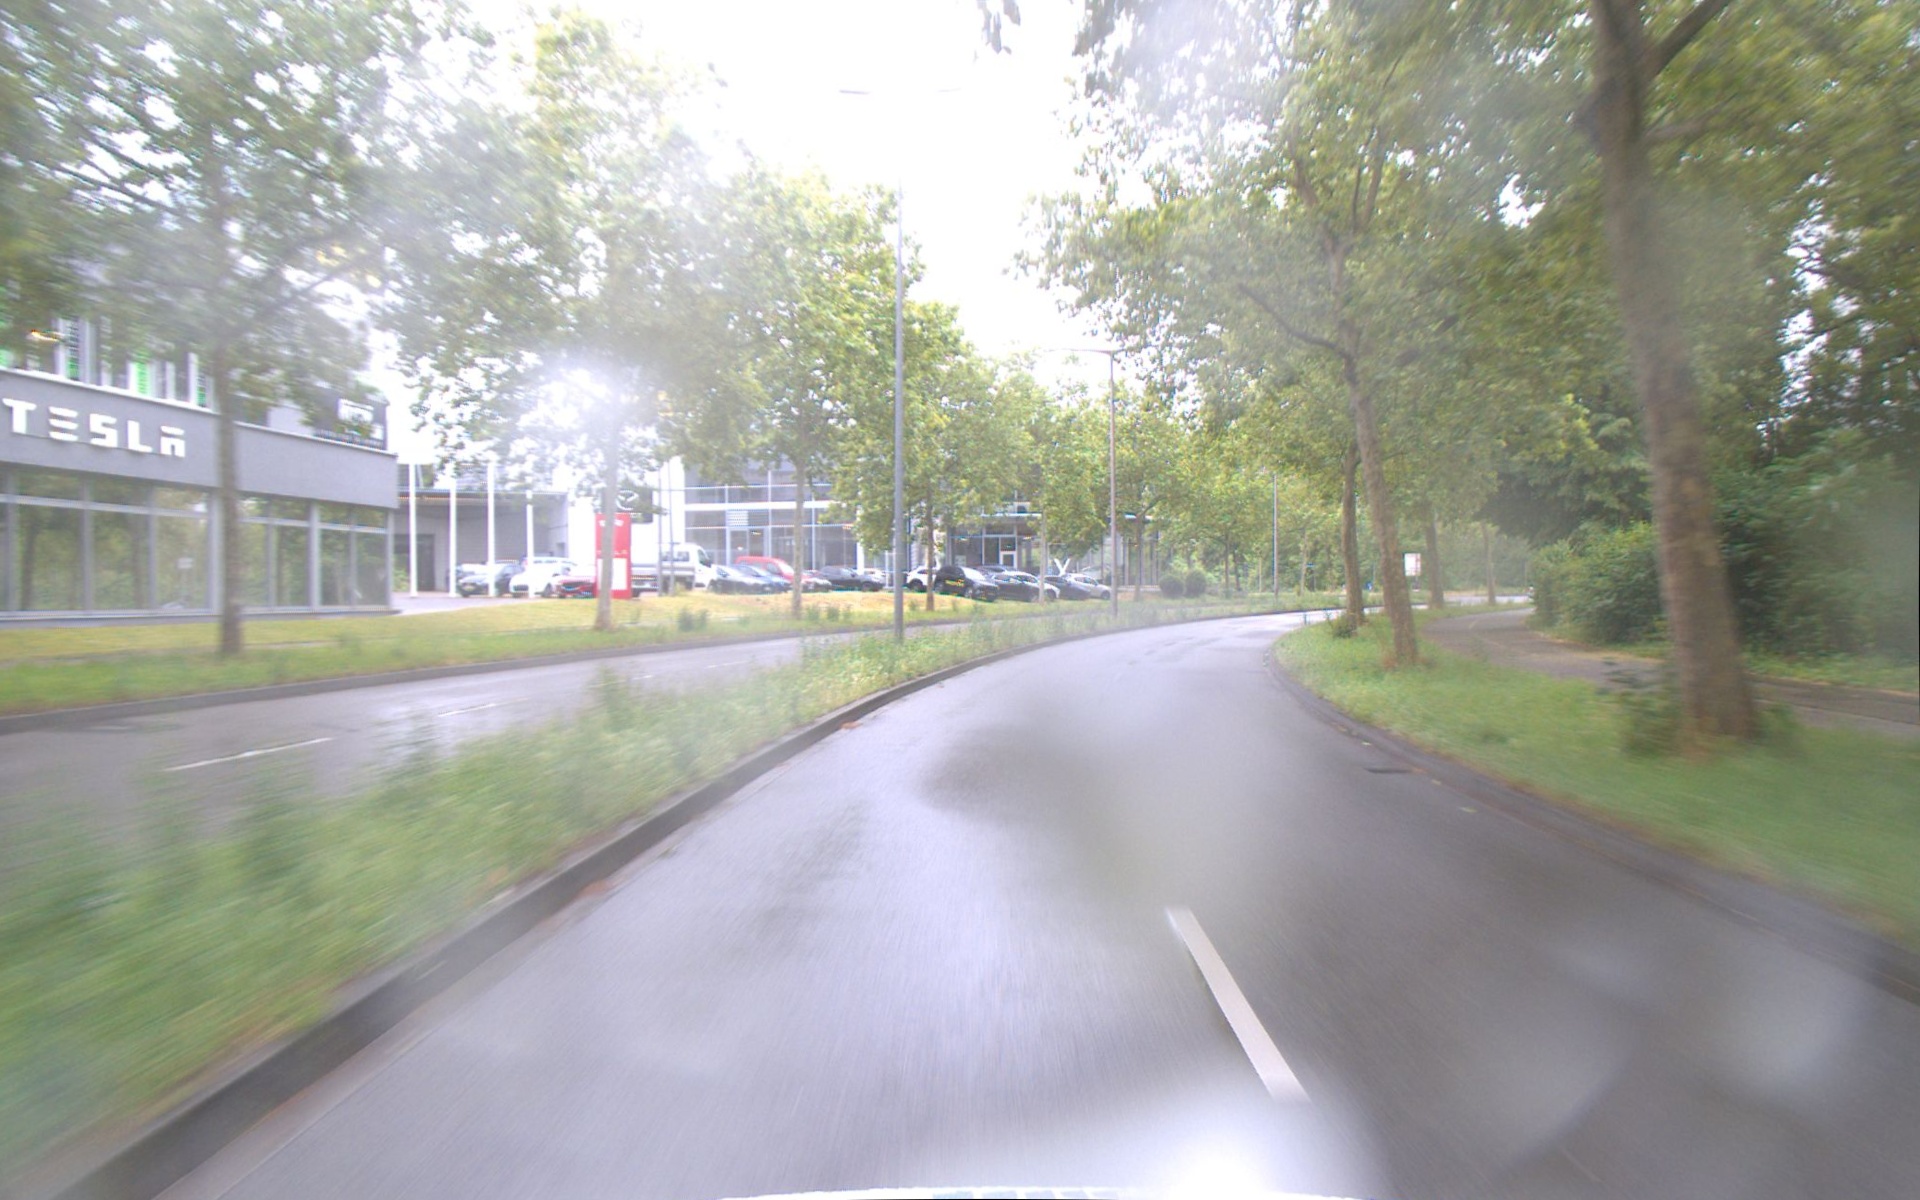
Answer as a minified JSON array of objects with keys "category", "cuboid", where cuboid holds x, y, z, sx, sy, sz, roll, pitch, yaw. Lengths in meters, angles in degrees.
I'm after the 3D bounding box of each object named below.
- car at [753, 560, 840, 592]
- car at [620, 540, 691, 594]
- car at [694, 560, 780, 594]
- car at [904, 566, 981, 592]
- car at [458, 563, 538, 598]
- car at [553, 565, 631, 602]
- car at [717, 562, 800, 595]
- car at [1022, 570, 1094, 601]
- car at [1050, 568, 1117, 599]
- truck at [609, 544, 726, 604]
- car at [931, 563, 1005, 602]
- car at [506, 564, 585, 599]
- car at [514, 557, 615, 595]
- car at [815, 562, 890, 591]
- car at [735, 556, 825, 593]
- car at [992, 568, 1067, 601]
[{"category":"car","cuboid":[-8.232,-1.249,83.471,3.913,1.380,1.849,3,3,18]},{"category":"car","cuboid":[-16.565,-1.844,89.793,2.141,2.800,5.287,1,1,-29]},{"category":"car","cuboid":[-10.220,-1.055,75.870,3.450,1.349,1.769,3,3,18]},{"category":"car","cuboid":[-1.058,-1.287,99.957,4.328,1.499,1.921,1,1,16]},{"category":"car","cuboid":[-20.648,-0.890,74.089,1.725,1.421,4.161,1,2,12]},{"category":"car","cuboid":[-16.001,-0.747,72.127,1.725,1.492,4.161,1,2,12]},{"category":"car","cuboid":[-9.507,-1.031,78.053,3.450,1.349,1.769,3,3,18]},{"category":"car","cuboid":[6.177,-0.924,104.464,4.052,1.446,1.840,6,4,-18]},{"category":"car","cuboid":[8.079,-1.091,108.324,3.938,1.500,1.772,5,4,-26]},{"category":"truck","cuboid":[-12.608,-1.206,71.795,2.200,2.384,6.197,3,3,19]},{"category":"car","cuboid":[0.424,-1.018,94.856,1.828,1.582,4.383,4,5,-37]},{"category":"car","cuboid":[-18.397,-0.833,73.583,1.725,1.421,4.161,1,2,12]},{"category":"car","cuboid":[-19.891,-1.184,83.246,4.595,1.795,1.800,1,1,-33]},{"category":"car","cuboid":[-5.852,-1.302,90.236,3.914,1.380,1.848,2,3,0]},{"category":"car","cuboid":[-8.777,-1.270,80.633,3.913,1.583,1.848,3,3,18]},{"category":"car","cuboid":[4.243,-0.945,100.954,4.057,1.503,1.838,5,4,-21]}]
